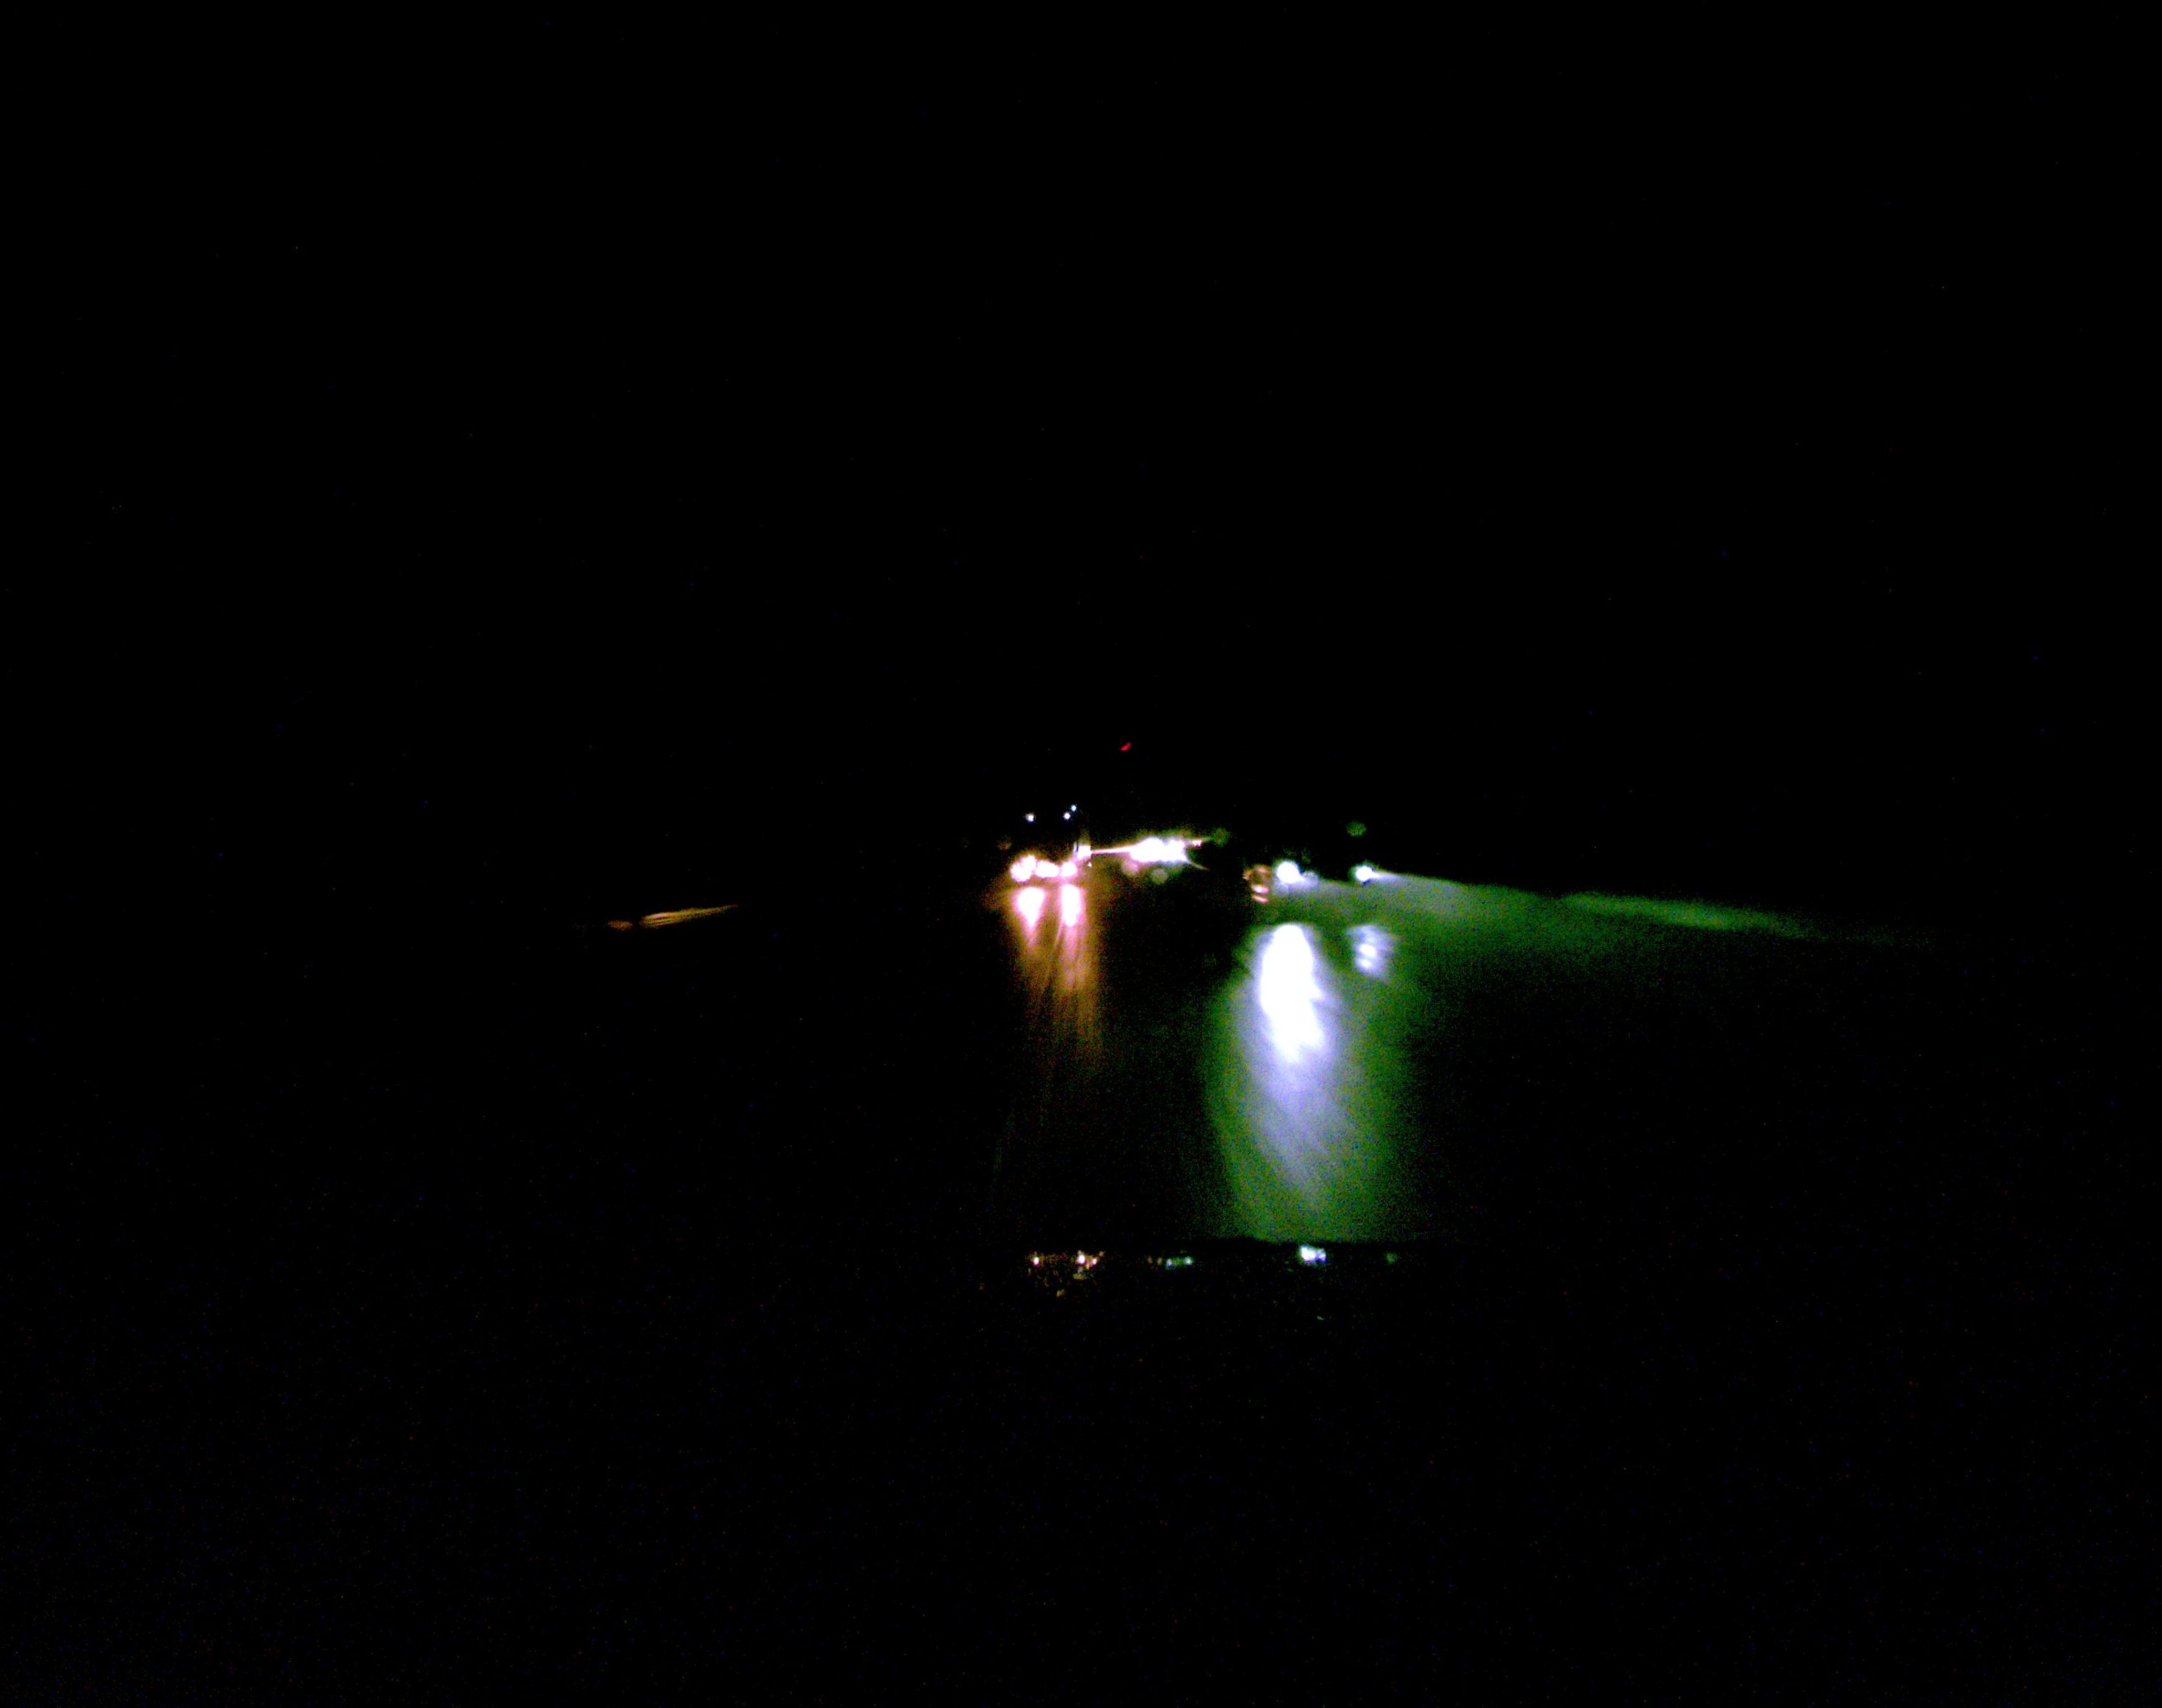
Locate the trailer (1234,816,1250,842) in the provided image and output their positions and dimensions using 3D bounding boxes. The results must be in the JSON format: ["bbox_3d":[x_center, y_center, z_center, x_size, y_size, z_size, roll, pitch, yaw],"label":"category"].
[{"bbox_3d":[38.581,-5.928,182.700,2.914,5.861,14.178,-2,1,9],"label":"trailer"}]

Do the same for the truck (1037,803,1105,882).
[{"bbox_3d":[-0.360,-0.782,48.344,2.502,4.224,13.645,-2,1,6],"label":"truck"}]

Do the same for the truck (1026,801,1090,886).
[{"bbox_3d":[-1.126,-0.585,41.409,2.502,4.224,5.983,-2,2,6],"label":"truck"}]

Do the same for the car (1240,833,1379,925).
[{"bbox_3d":[5.409,0.457,18.845,2.141,1.874,5.556,-2,1,5],"label":"car"}]

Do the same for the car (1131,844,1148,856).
[{"bbox_3d":[8.845,-0.621,114.113,1.997,1.553,4.648,-2,1,10],"label":"car"}]
